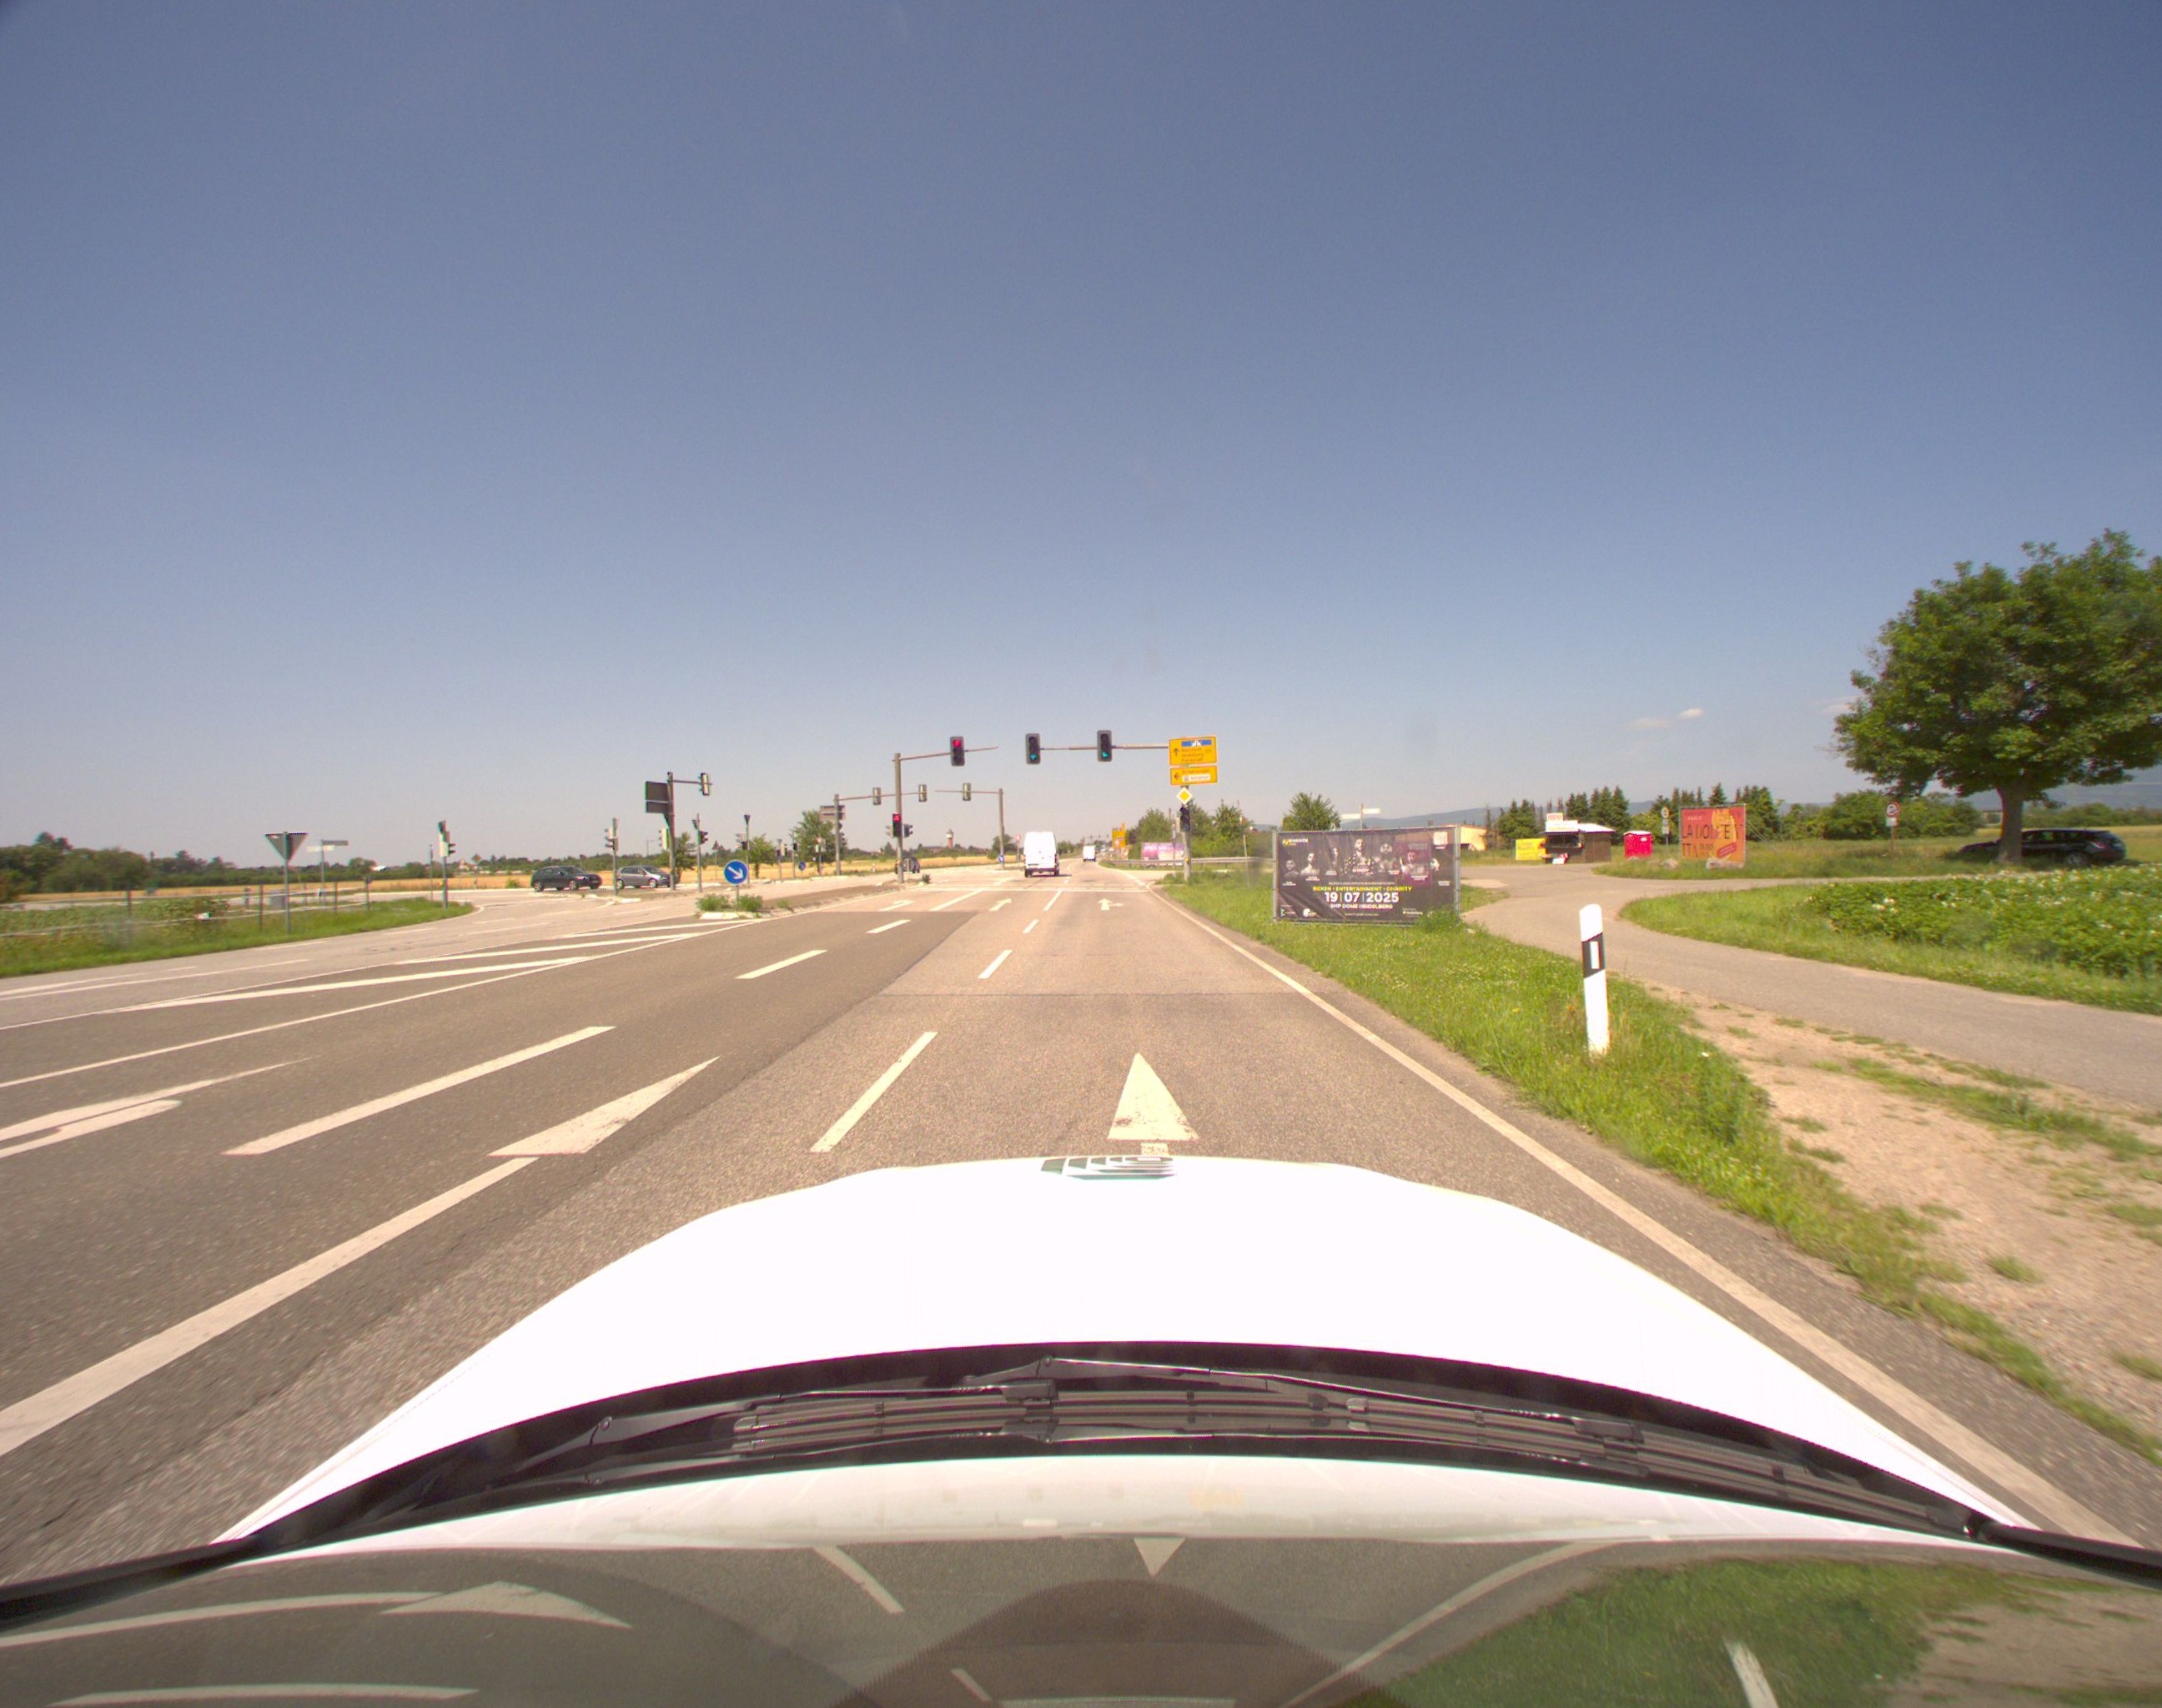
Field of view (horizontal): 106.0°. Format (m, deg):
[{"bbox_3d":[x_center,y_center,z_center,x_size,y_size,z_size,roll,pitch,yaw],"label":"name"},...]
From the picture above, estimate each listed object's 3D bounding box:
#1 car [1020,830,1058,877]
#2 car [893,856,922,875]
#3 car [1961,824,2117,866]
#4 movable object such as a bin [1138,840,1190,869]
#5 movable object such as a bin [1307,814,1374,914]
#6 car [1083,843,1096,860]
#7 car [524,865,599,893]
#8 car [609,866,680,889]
[{"bbox_3d":[-2.502,-0.043,49.693,2.033,2.620,5.738,-2,0,-1],"label":"car"},{"bbox_3d":[-15.478,1.034,72.653,1.826,1.600,4.300,-2,0,-3],"label":"car"},{"bbox_3d":[37.574,-0.350,32.100,1.748,1.527,3.889,-1,0,5],"label":"car"},{"bbox_3d":[6.709,0.004,66.206,4.085,2.331,1.276,0,-1,-4],"label":"movable object such as a bin"},{"bbox_3d":[6.916,0.250,21.548,1.509,2.363,4.445,0,-1,19],"label":"movable object such as a bin"},{"bbox_3d":[1.423,-0.345,134.456,1.984,2.695,4.975,0,-1,4],"label":"car"},{"bbox_3d":[-34.405,1.660,53.938,4.322,1.594,1.642,-3,0,16],"label":"car"},{"bbox_3d":[-28.217,1.518,52.661,3.840,1.387,1.641,-1,1,14],"label":"car"}]
